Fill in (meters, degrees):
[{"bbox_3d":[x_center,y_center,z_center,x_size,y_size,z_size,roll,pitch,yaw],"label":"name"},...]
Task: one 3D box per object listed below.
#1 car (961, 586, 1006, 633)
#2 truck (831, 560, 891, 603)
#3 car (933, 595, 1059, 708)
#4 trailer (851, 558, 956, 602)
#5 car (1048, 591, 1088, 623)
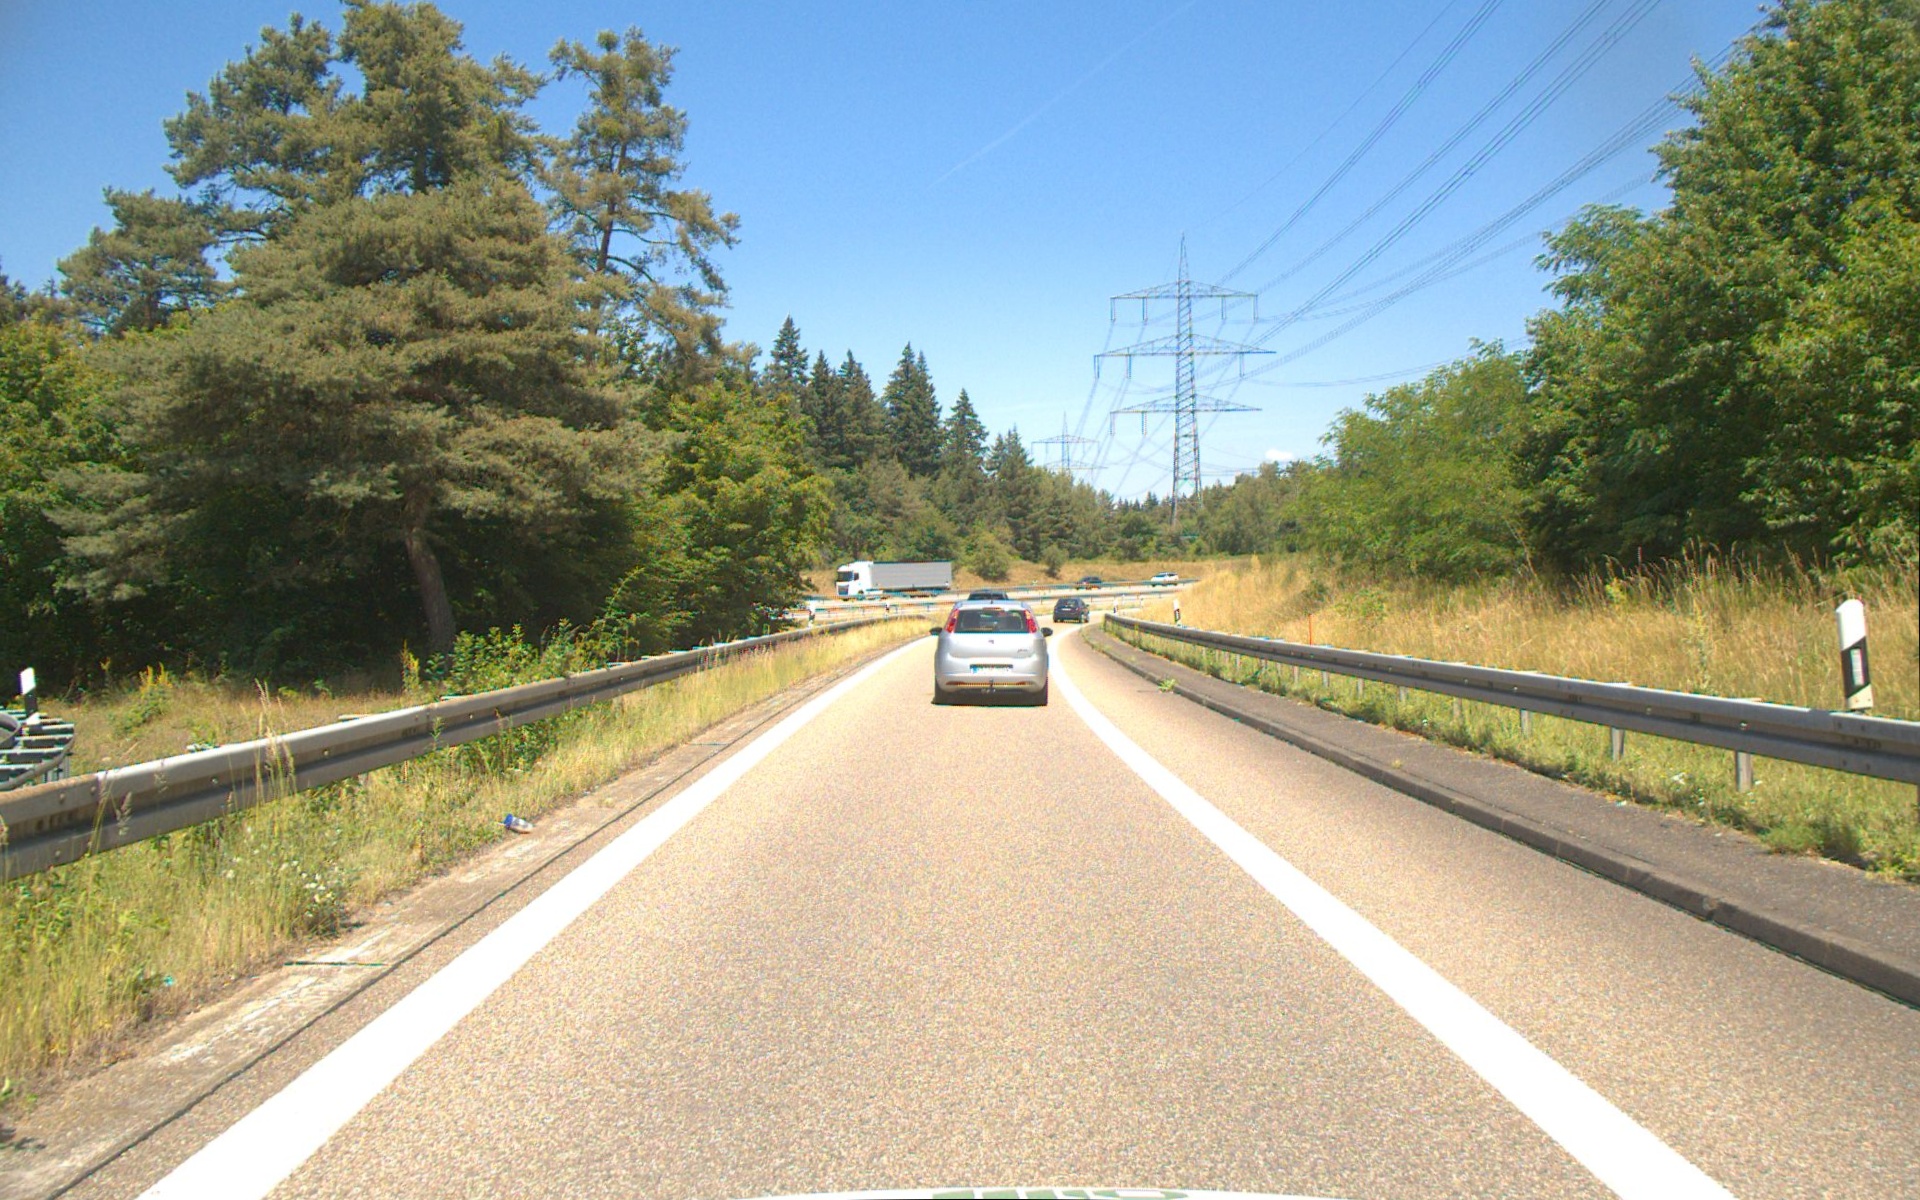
[{"bbox_3d":[0.899,0.334,63.449,1.671,1.705,3.398,0,1,1],"label":"car"},{"bbox_3d":[-10.609,-2.025,178.113,2.894,4.469,6.239,-2,0,40],"label":"truck"},{"bbox_3d":[0.474,0.713,24.607,1.672,1.507,3.396,0,1,-2],"label":"car"},{"bbox_3d":[-6.129,-2.266,183.486,2.880,4.463,14.224,-2,1,40],"label":"trailer"},{"bbox_3d":[6.411,0.381,97.938,1.841,1.713,4.004,-3,0,11],"label":"car"}]
